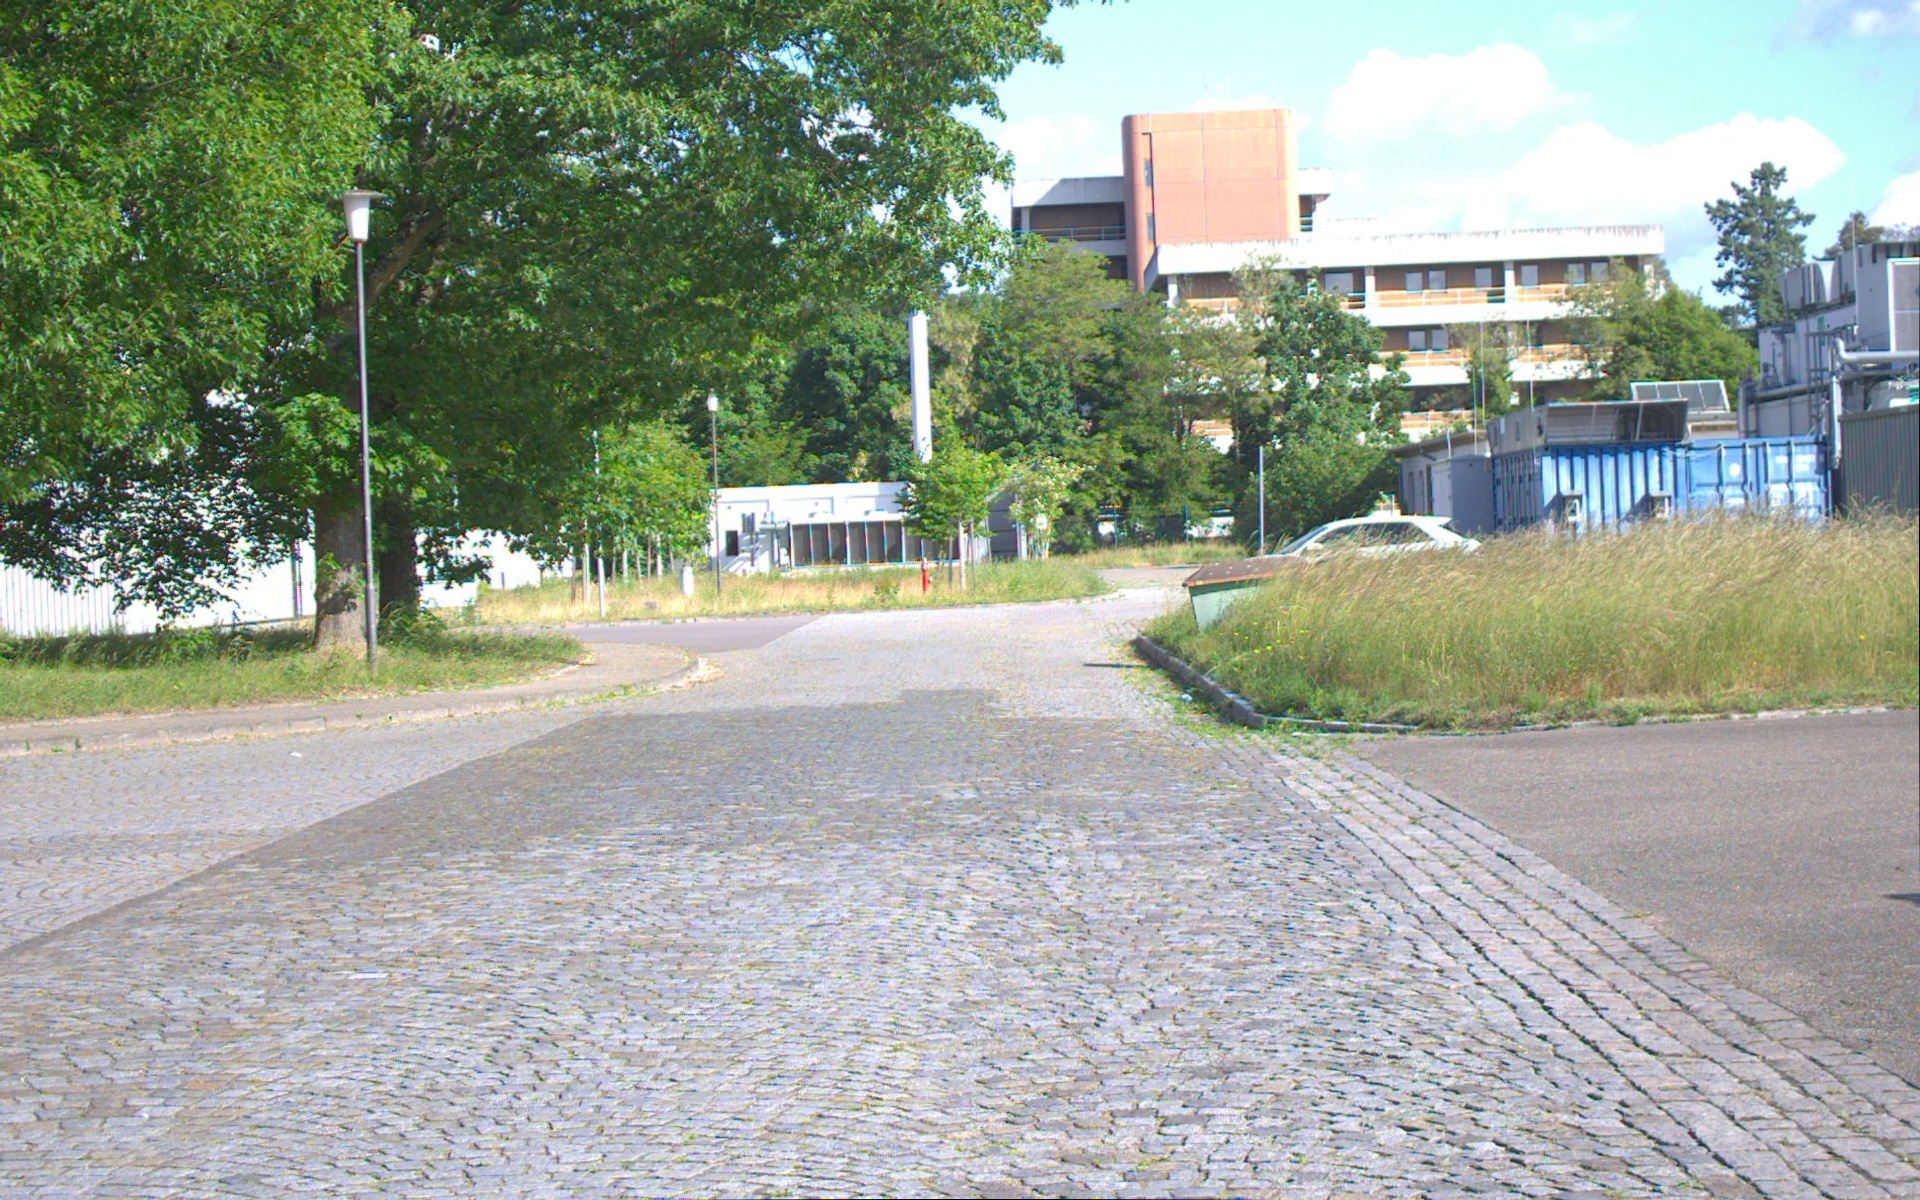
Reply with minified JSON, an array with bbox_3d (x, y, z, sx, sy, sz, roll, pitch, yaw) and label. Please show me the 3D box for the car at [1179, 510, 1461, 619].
[{"bbox_3d":[6.112,-0.613,58.760,4.588,1.672,1.875,-2,1,1],"label":"car"}]
